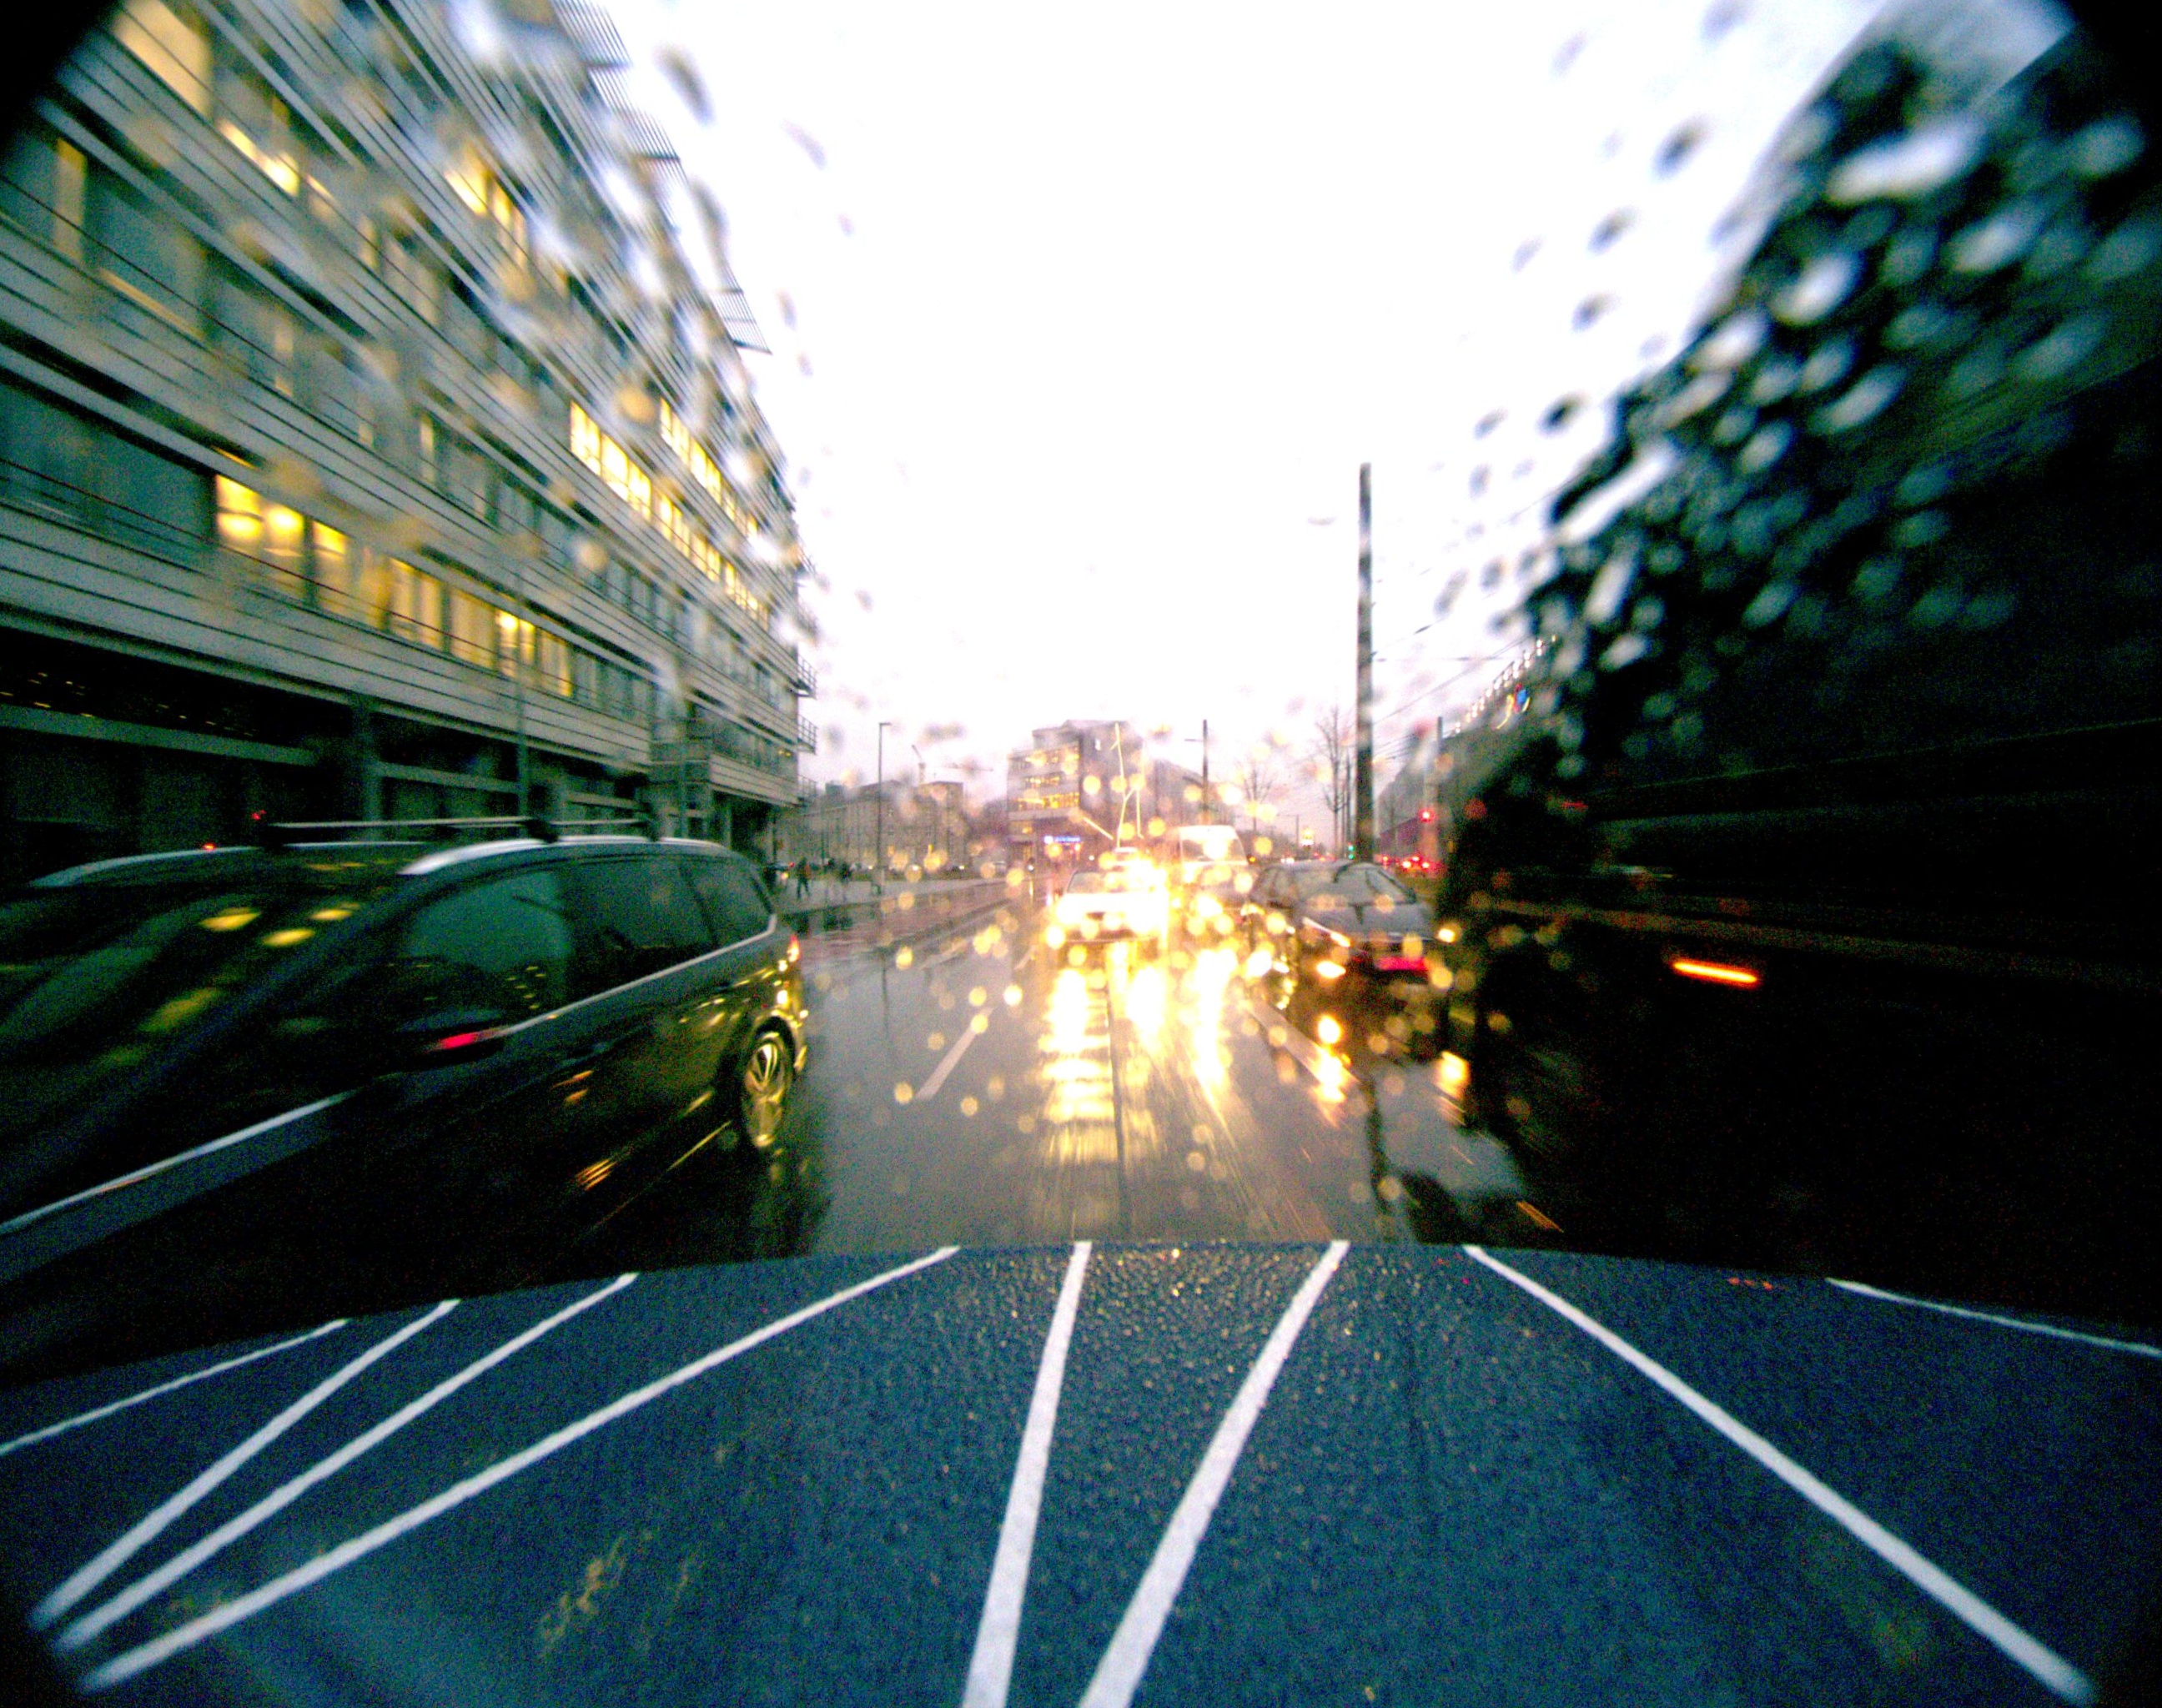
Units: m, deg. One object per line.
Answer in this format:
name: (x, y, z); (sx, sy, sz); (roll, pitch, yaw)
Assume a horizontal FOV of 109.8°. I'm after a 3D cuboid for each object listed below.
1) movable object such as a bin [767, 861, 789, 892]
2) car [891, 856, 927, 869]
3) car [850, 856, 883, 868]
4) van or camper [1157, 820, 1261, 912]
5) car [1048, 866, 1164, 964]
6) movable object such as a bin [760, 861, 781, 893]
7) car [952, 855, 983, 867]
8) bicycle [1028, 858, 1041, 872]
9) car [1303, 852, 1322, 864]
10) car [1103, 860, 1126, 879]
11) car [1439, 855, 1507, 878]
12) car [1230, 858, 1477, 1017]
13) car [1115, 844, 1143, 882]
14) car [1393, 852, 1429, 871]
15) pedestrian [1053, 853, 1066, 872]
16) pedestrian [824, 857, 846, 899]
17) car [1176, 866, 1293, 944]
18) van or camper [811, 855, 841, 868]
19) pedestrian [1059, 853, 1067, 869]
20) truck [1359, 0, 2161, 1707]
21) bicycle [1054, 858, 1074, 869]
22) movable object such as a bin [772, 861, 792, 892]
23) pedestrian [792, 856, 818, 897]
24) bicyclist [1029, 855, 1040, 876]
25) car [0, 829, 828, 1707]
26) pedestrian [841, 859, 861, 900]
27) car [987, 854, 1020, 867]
movable object such as a bin: (-14.150, 1.049, 35.505); (0.666, 1.420, 0.840); (-1, 1, -4)
car: (-23.653, 1.211, 104.762); (4.368, 1.750, 2.002); (-1, 0, 15)
car: (-30.140, 1.139, 106.992); (3.997, 1.663, 2.002); (-1, 0, 15)
van or camper: (3.867, 0.332, 24.128); (2.153, 2.517, 5.897); (-1, 0, -1)
car: (0.379, 0.977, 13.772); (1.782, 1.464, 3.943); (-1, 0, 0)
movable object such as a bin: (-14.137, 1.032, 34.608); (0.666, 1.420, 0.840); (-1, 1, -4)
car: (-15.215, 0.910, 101.896); (3.759, 1.528, 1.782); (0, 0, 16)
bicycle: (-4.225, 1.033, 69.339); (0.680, 1.191, 1.763); (-3, 0, 14)
car: (27.089, 0.448, 89.110); (1.790, 1.412, 3.903); (-1, 0, 13)
car: (3.571, 1.662, 82.252); (2.170, 1.744, 4.540); (1, 2, -1)
car: (23.260, 0.724, 45.296); (1.844, 1.230, 4.374); (-1, 0, 1)
car: (3.112, 0.843, 9.564); (1.634, 1.515, 3.940); (0, 1, -1)
car: (3.875, 0.652, 60.489); (2.128, 2.847, 5.816); (-1, 0, 5)
car: (26.266, 0.550, 60.586); (1.790, 1.412, 3.902); (-1, 0, 10)
pedestrian: (-2.316, 0.875, 81.477); (1.119, 2.002, 1.034); (0, 1, 14)
pedestrian: (-10.280, 0.989, 31.757); (0.651, 1.692, 0.884); (1, 0, -4)
car: (3.049, 0.970, 15.888); (1.759, 1.337, 4.057); (-1, 0, 2)
van or camper: (-42.559, 1.252, 126.722); (4.367, 1.839, 2.003); (-2, 0, 20)
pedestrian: (-2.059, 0.771, 86.324); (0.892, 1.783, 0.668); (0, 1, 4)
truck: (3.014, -0.053, 0.377); (2.847, 3.612, 7.525); (0, 0, -1)
bicycle: (-1.958, 1.068, 86.352); (2.203, 1.182, 0.668); (0, 1, 4)
movable object such as a bin: (-14.332, 1.055, 36.432); (0.666, 1.468, 0.840); (-1, 1, -4)
pedestrian: (-11.643, 0.936, 32.100); (0.747, 1.692, 0.968); (2, 0, -4)
bicyclist: (-4.223, 1.049, 69.353); (0.671, 1.788, 0.807); (-2, 1, 14)
car: (-2.669, 0.887, 2.538); (1.887, 1.800, 4.671); (-2, 0, 2)
pedestrian: (-9.607, 1.046, 31.782); (0.616, 1.659, 0.884); (1, 0, -4)
car: (-10.307, 0.898, 100.800); (3.918, 1.699, 1.782); (-1, 0, 13)
